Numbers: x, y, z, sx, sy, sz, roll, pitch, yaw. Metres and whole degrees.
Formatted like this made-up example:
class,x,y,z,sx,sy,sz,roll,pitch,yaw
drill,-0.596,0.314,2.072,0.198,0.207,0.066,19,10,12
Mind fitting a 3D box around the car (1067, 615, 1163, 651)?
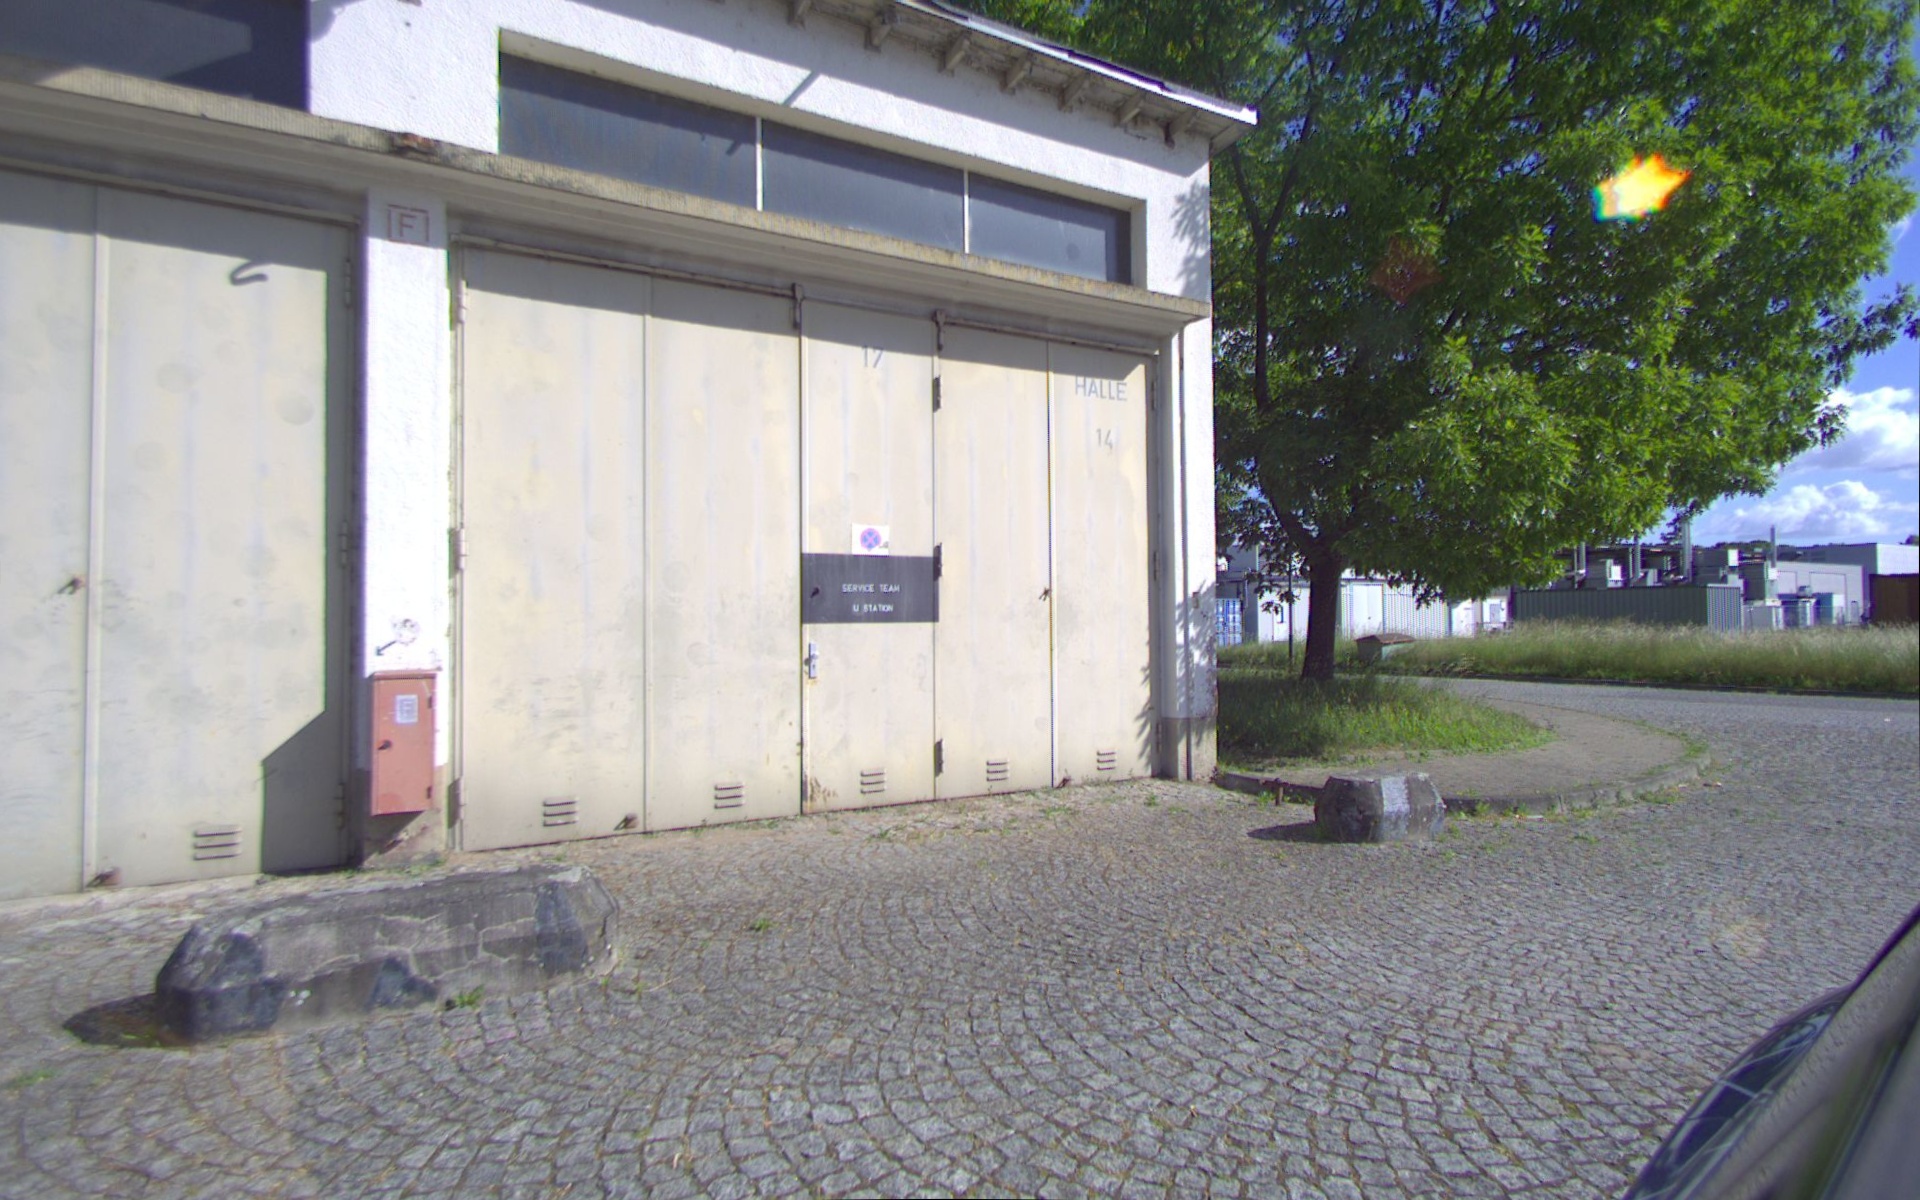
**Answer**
class,x,y,z,sx,sy,sz,roll,pitch,yaw
car,7.479,1.556,48.754,4.430,1.613,1.825,0,-2,-31
